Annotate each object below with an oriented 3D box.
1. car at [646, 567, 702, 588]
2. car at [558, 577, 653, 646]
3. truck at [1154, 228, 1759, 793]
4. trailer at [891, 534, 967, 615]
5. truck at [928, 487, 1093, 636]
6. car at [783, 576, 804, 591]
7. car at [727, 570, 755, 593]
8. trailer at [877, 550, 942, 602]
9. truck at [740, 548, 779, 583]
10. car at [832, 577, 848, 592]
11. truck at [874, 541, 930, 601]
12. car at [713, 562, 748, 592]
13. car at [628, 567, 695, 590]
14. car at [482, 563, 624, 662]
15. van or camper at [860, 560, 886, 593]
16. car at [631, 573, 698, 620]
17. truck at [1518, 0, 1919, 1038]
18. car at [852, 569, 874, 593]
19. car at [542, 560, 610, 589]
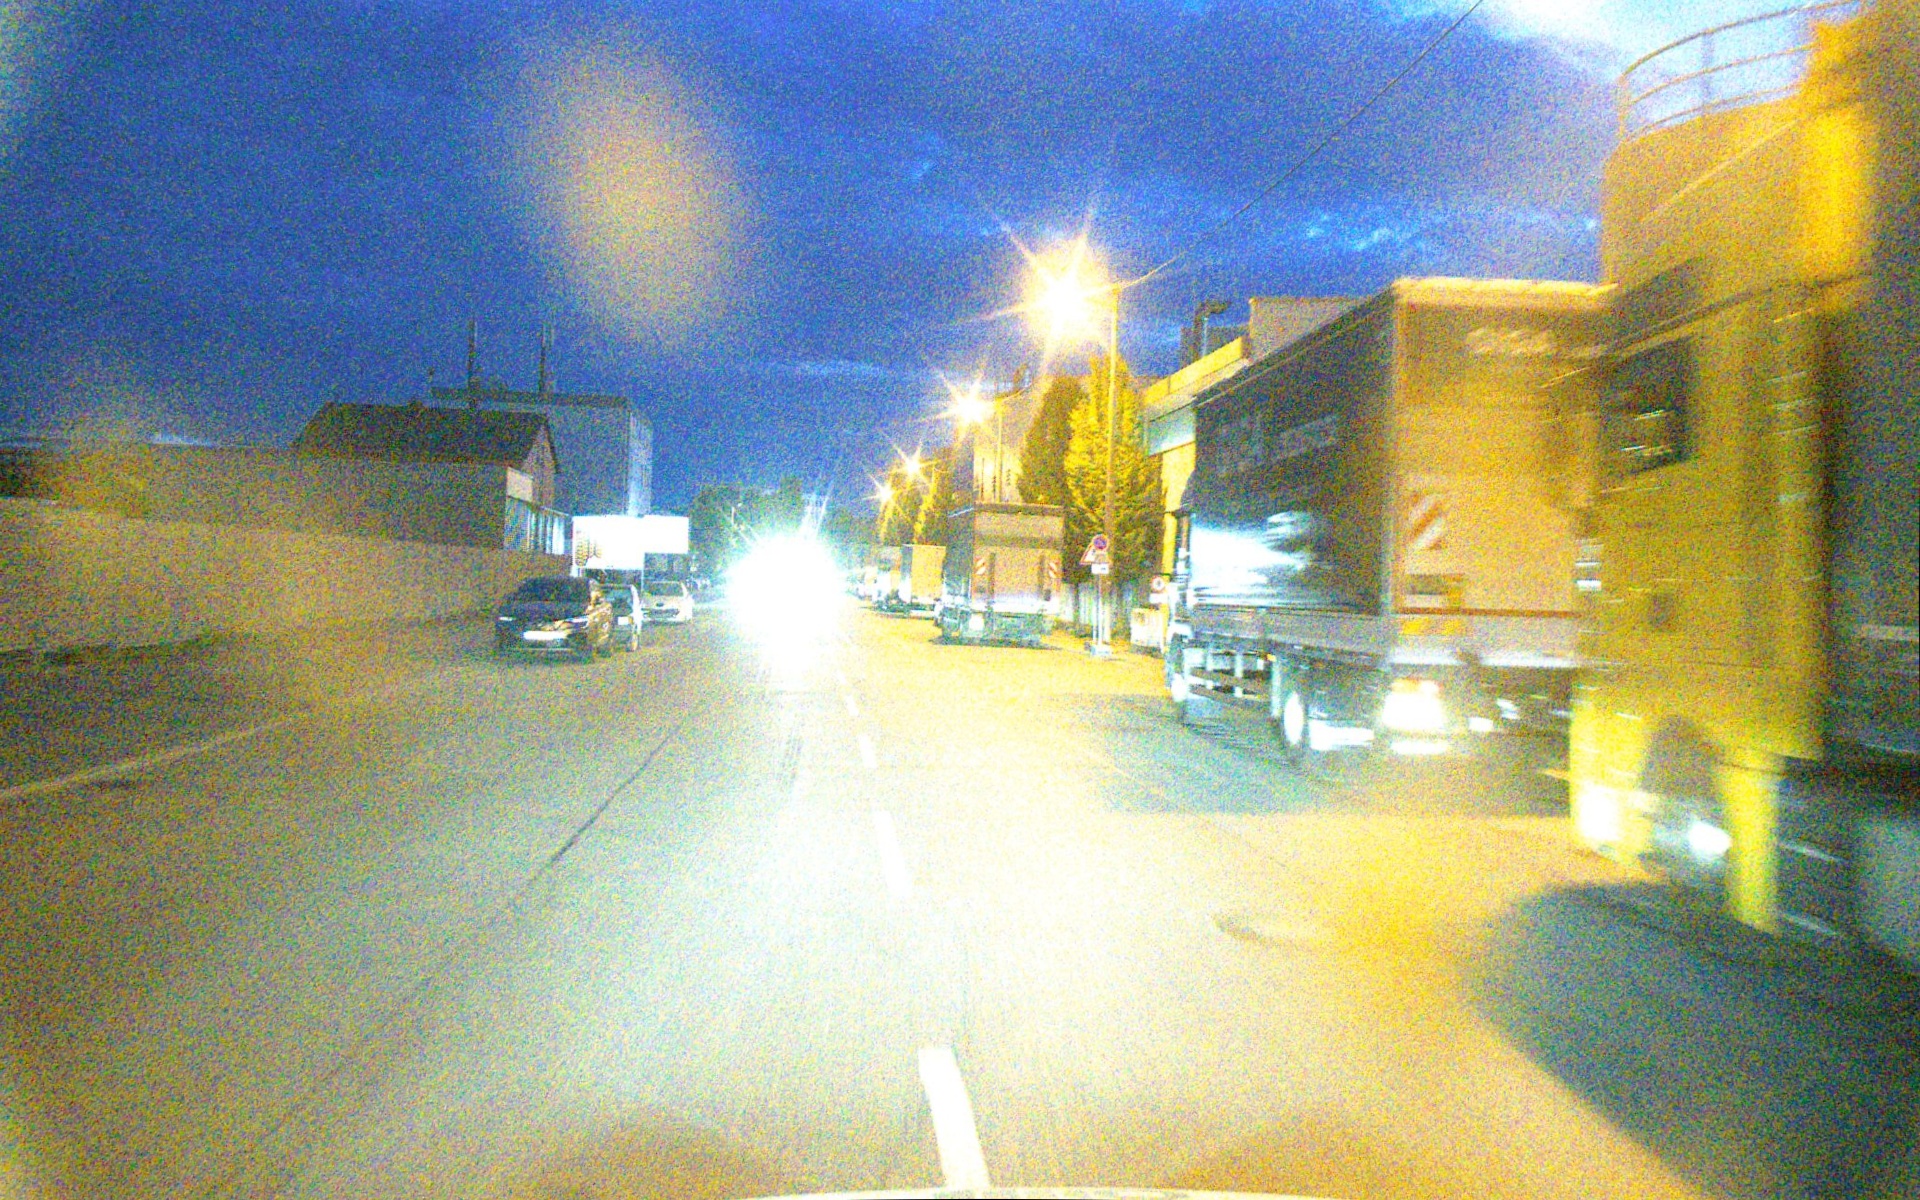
[{"bbox_3d":[-22.808,-1.814,131.805,3.947,1.622,1.979,0,0,-32],"label":"car"},{"bbox_3d":[-7.828,0.215,36.819,1.571,1.377,3.996,2,1,-6],"label":"car"},{"bbox_3d":[4.210,-0.659,17.118,2.773,4.053,10.337,0,0,-2],"label":"truck"},{"bbox_3d":[-1.567,-1.184,78.588,2.636,3.525,7.796,2,0,-7],"label":"trailer"},{"bbox_3d":[1.303,-1.069,50.381,3.454,4.053,10.326,0,0,-7],"label":"truck"},{"bbox_3d":[-16.671,-1.682,165.938,1.955,1.422,3.996,2,1,-5],"label":"car"},{"bbox_3d":[-17.607,-1.476,133.155,1.860,1.766,4.353,2,1,-3],"label":"car"},{"bbox_3d":[-3.009,-1.328,94.839,3.122,2.797,10.704,0,0,-5],"label":"trailer"},{"bbox_3d":[-22.366,-3.831,184.290,3.820,3.684,8.240,2,1,-10],"label":"truck"},{"bbox_3d":[-14.948,-1.945,205.900,1.955,1.713,3.996,2,1,-5],"label":"car"},{"bbox_3d":[-3.640,-1.739,101.944,3.090,3.524,6.666,0,0,-5],"label":"truck"},{"bbox_3d":[-14.888,-1.483,107.510,1.955,1.825,3.996,2,1,-5],"label":"car"},{"bbox_3d":[-22.268,-1.592,123.517,4.560,1.511,1.982,2,1,-28],"label":"car"},{"bbox_3d":[-7.646,0.199,31.510,1.955,1.665,4.767,2,0,-6],"label":"car"},{"bbox_3d":[-7.179,-1.916,135.628,1.954,2.626,4.910,2,1,-4],"label":"van or camper"},{"bbox_3d":[-9.827,-0.151,55.320,1.805,1.445,3.996,2,1,-5],"label":"car"},{"bbox_3d":[4.654,-0.525,6.483,2.773,4.053,6.048,0,0,-1],"label":"truck"},{"bbox_3d":[-9.162,-1.788,155.912,1.955,2.183,3.996,2,1,-5],"label":"car"},{"bbox_3d":[-24.123,-1.612,104.001,3.912,1.680,1.997,2,1,-8],"label":"car"}]
